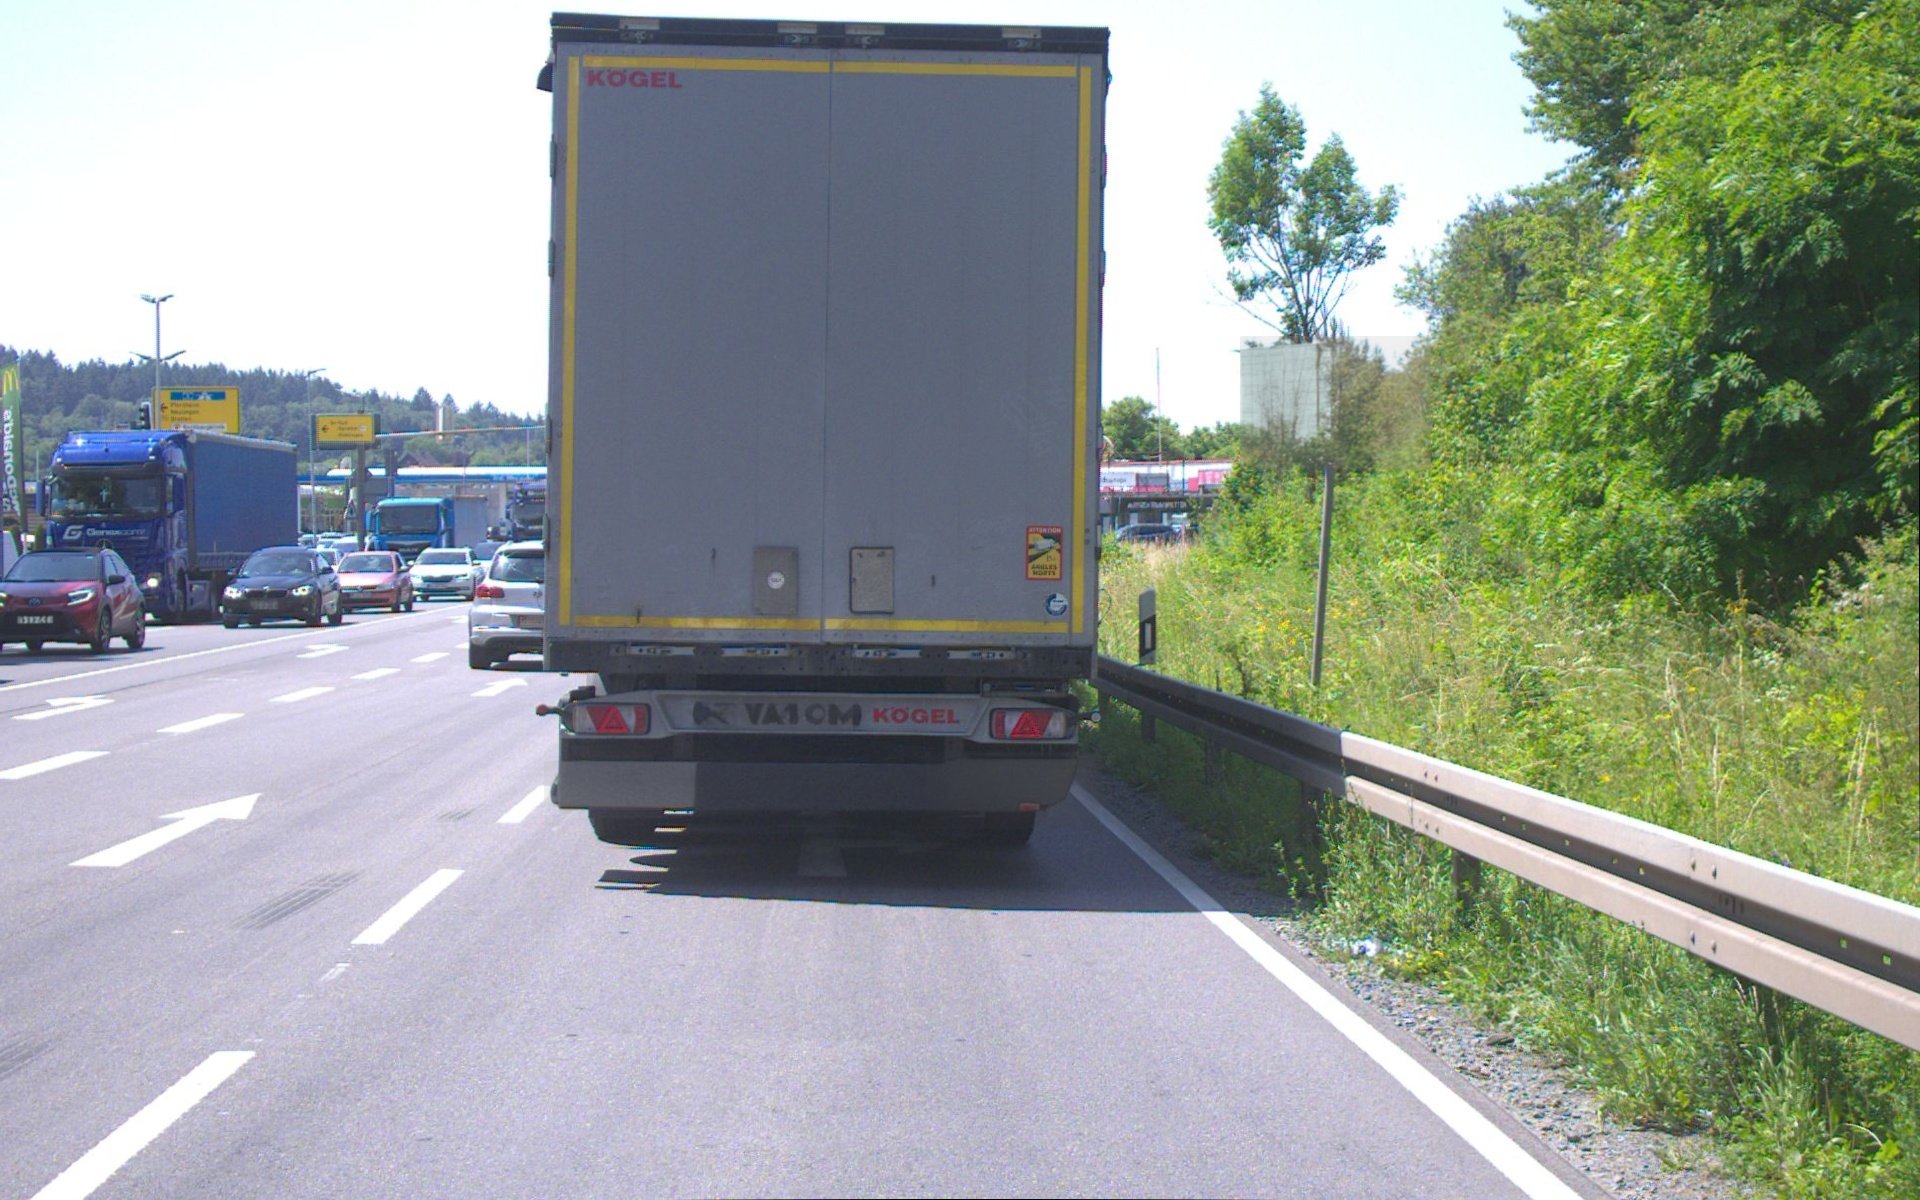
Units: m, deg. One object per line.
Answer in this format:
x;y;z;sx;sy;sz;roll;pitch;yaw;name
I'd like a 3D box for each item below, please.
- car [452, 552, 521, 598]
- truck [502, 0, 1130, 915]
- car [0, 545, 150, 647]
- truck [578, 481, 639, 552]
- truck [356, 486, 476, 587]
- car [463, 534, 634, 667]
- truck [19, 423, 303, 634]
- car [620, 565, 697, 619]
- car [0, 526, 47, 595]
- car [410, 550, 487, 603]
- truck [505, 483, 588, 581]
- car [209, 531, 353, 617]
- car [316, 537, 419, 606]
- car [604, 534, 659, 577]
-15.086;-0.814;109.694;1.761;1.423;4.180;0;1;-2;car
-0.766;-0.913;23.849;2.755;4.623;16.655;1;0;-1;truck
-13.039;-0.092;50.442;1.641;1.433;4.017;0;1;-4;car
-20.264;-4.758;198.807;2.934;3.936;14.239;0;1;-4;truck
-18.729;-2.154;119.072;2.846;3.340;11.483;0;1;-3;truck
-5.448;-0.032;45.962;1.804;1.664;4.292;1;1;-1;car
-17.443;-1.524;76.541;2.968;4.162;16.576;0;1;-2;truck
-7.980;-0.230;91.357;1.686;1.393;4.403;0;0;0;car
-31.749;-1.263;109.569;1.997;2.175;5.184;0;1;31;car
-14.036;-0.653;94.502;1.699;1.410;4.563;0;1;-4;car
-19.297;-3.129;161.419;3.145;4.334;17.545;0;1;-4;truck
-13.074;-0.511;66.450;1.919;1.475;4.687;-4;1;-2;car
-13.655;-0.675;79.370;1.767;1.441;3.776;-4;1;-2;car
-16.070;-2.168;168.460;2.489;2.007;5.529;1;0;-4;car
